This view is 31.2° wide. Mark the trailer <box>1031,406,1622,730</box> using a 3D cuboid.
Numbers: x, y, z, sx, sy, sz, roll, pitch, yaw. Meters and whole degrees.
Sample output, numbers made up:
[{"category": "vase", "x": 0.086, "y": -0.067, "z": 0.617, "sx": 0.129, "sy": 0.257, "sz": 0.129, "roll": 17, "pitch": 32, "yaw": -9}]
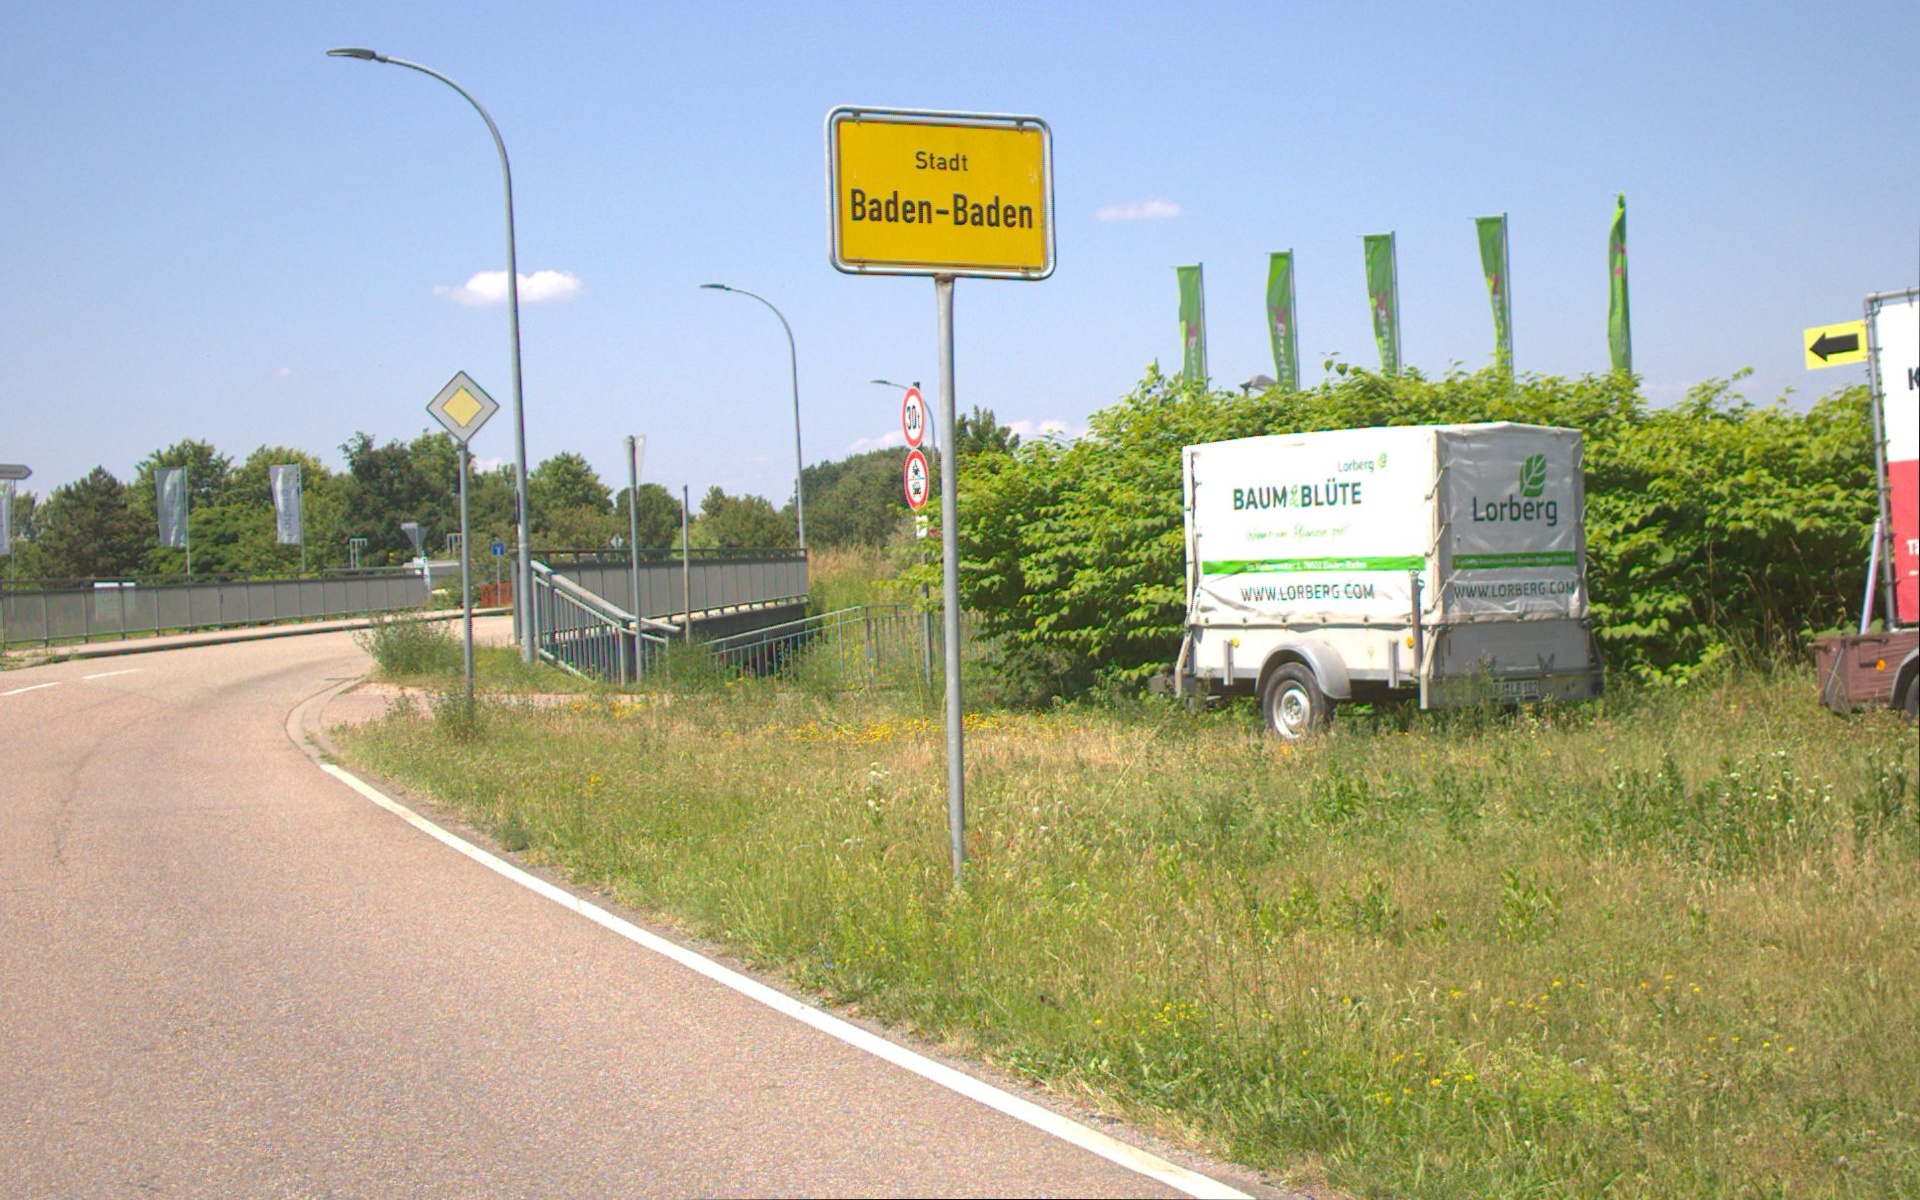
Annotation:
[{"category": "trailer", "x": 2.480, "y": -0.202, "z": 24.094, "sx": 1.846, "sy": 2.071, "sz": 3.968, "roll": -2, "pitch": 0, "yaw": -37}]

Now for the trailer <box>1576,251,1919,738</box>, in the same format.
[{"category": "trailer", "x": 5.453, "y": -0.587, "z": 20.088, "sx": 1.846, "sy": 2.661, "sz": 3.146, "roll": -2, "pitch": 0, "yaw": -37}]
